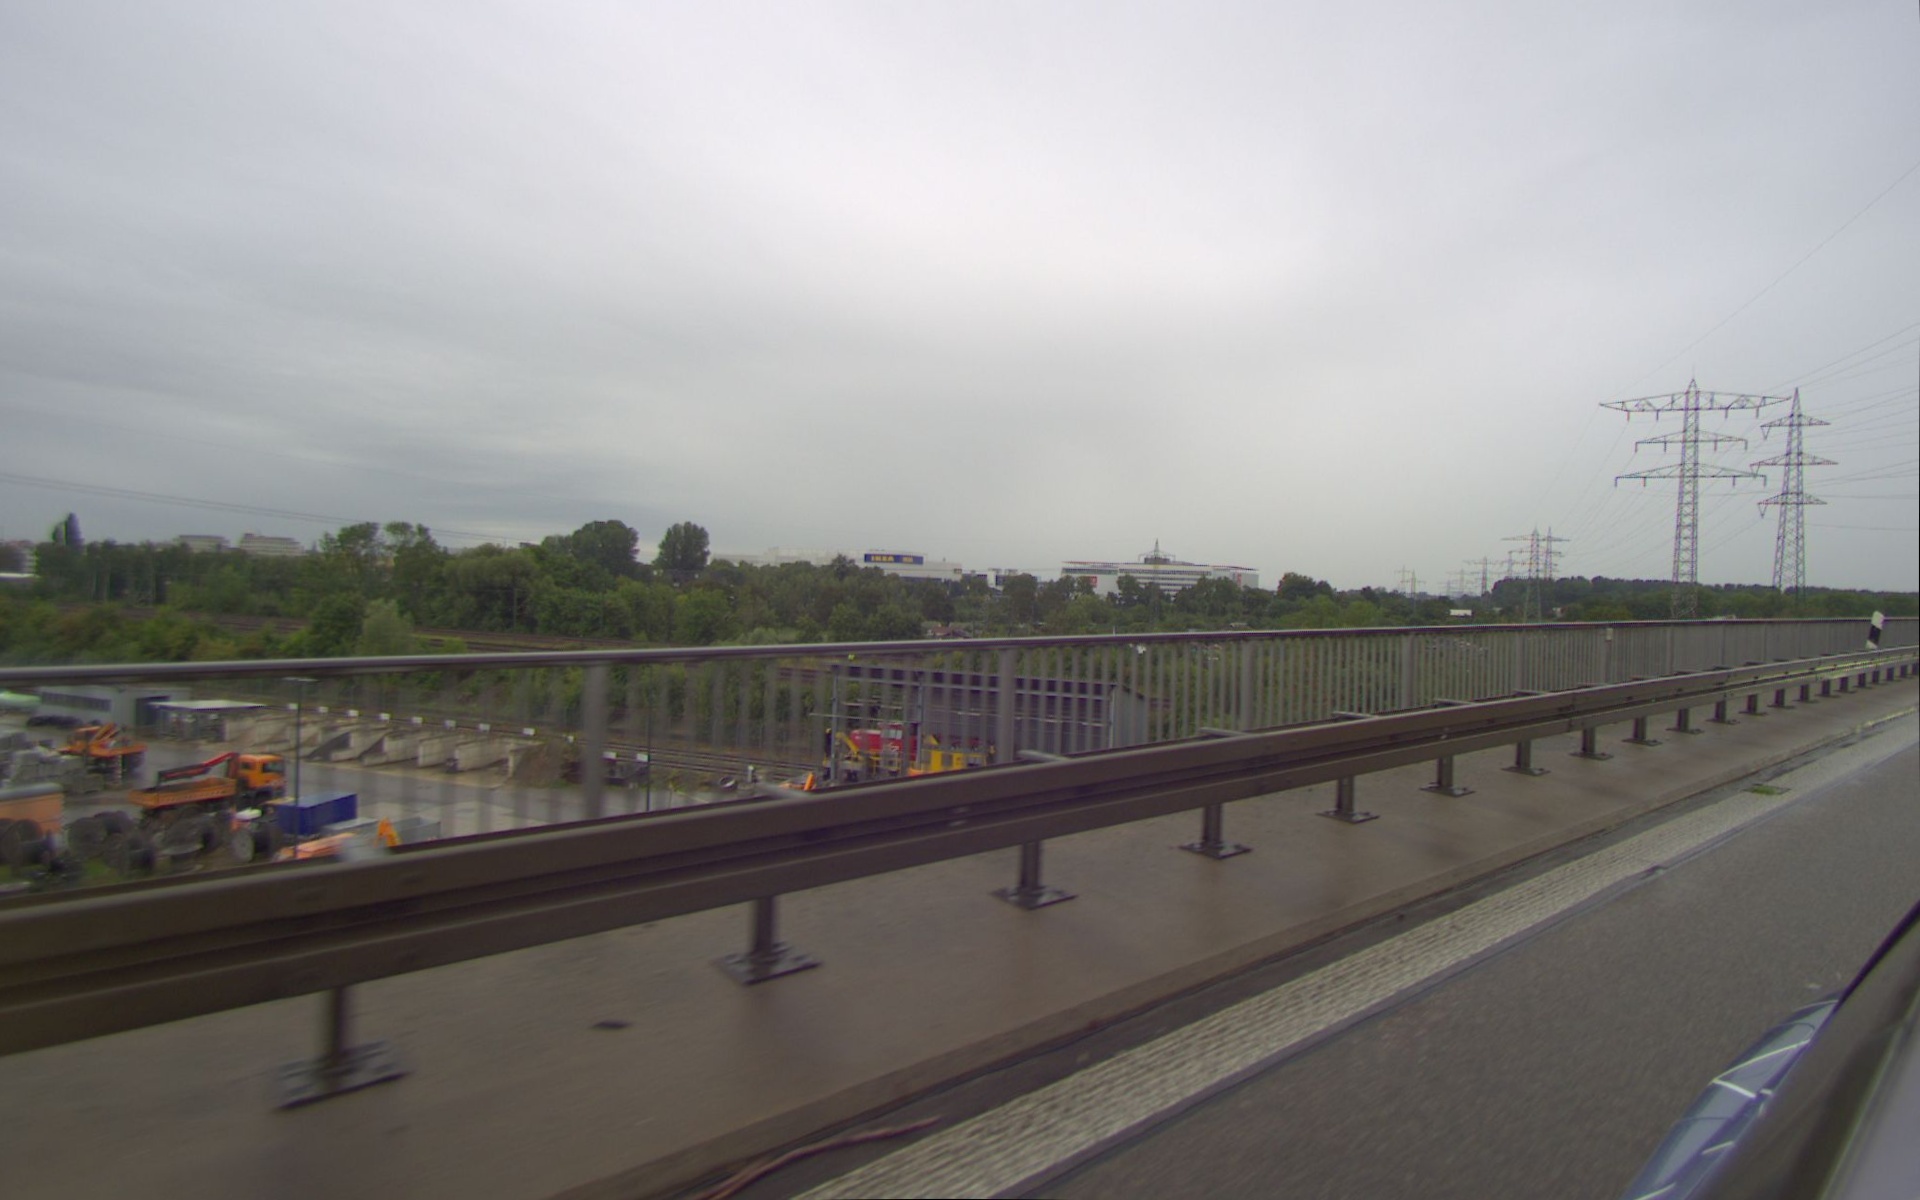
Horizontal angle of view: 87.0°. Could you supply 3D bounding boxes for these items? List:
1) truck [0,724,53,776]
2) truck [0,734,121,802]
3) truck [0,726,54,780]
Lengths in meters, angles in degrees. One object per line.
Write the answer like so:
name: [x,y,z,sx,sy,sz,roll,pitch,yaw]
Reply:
truck: [-68.854,10.827,71.811,2.076,3.224,6.552,0,0,17]
truck: [-58.718,10.779,65.689,2.076,3.224,6.552,0,0,17]
truck: [-66.127,10.634,68.881,2.076,3.224,6.552,0,0,17]
